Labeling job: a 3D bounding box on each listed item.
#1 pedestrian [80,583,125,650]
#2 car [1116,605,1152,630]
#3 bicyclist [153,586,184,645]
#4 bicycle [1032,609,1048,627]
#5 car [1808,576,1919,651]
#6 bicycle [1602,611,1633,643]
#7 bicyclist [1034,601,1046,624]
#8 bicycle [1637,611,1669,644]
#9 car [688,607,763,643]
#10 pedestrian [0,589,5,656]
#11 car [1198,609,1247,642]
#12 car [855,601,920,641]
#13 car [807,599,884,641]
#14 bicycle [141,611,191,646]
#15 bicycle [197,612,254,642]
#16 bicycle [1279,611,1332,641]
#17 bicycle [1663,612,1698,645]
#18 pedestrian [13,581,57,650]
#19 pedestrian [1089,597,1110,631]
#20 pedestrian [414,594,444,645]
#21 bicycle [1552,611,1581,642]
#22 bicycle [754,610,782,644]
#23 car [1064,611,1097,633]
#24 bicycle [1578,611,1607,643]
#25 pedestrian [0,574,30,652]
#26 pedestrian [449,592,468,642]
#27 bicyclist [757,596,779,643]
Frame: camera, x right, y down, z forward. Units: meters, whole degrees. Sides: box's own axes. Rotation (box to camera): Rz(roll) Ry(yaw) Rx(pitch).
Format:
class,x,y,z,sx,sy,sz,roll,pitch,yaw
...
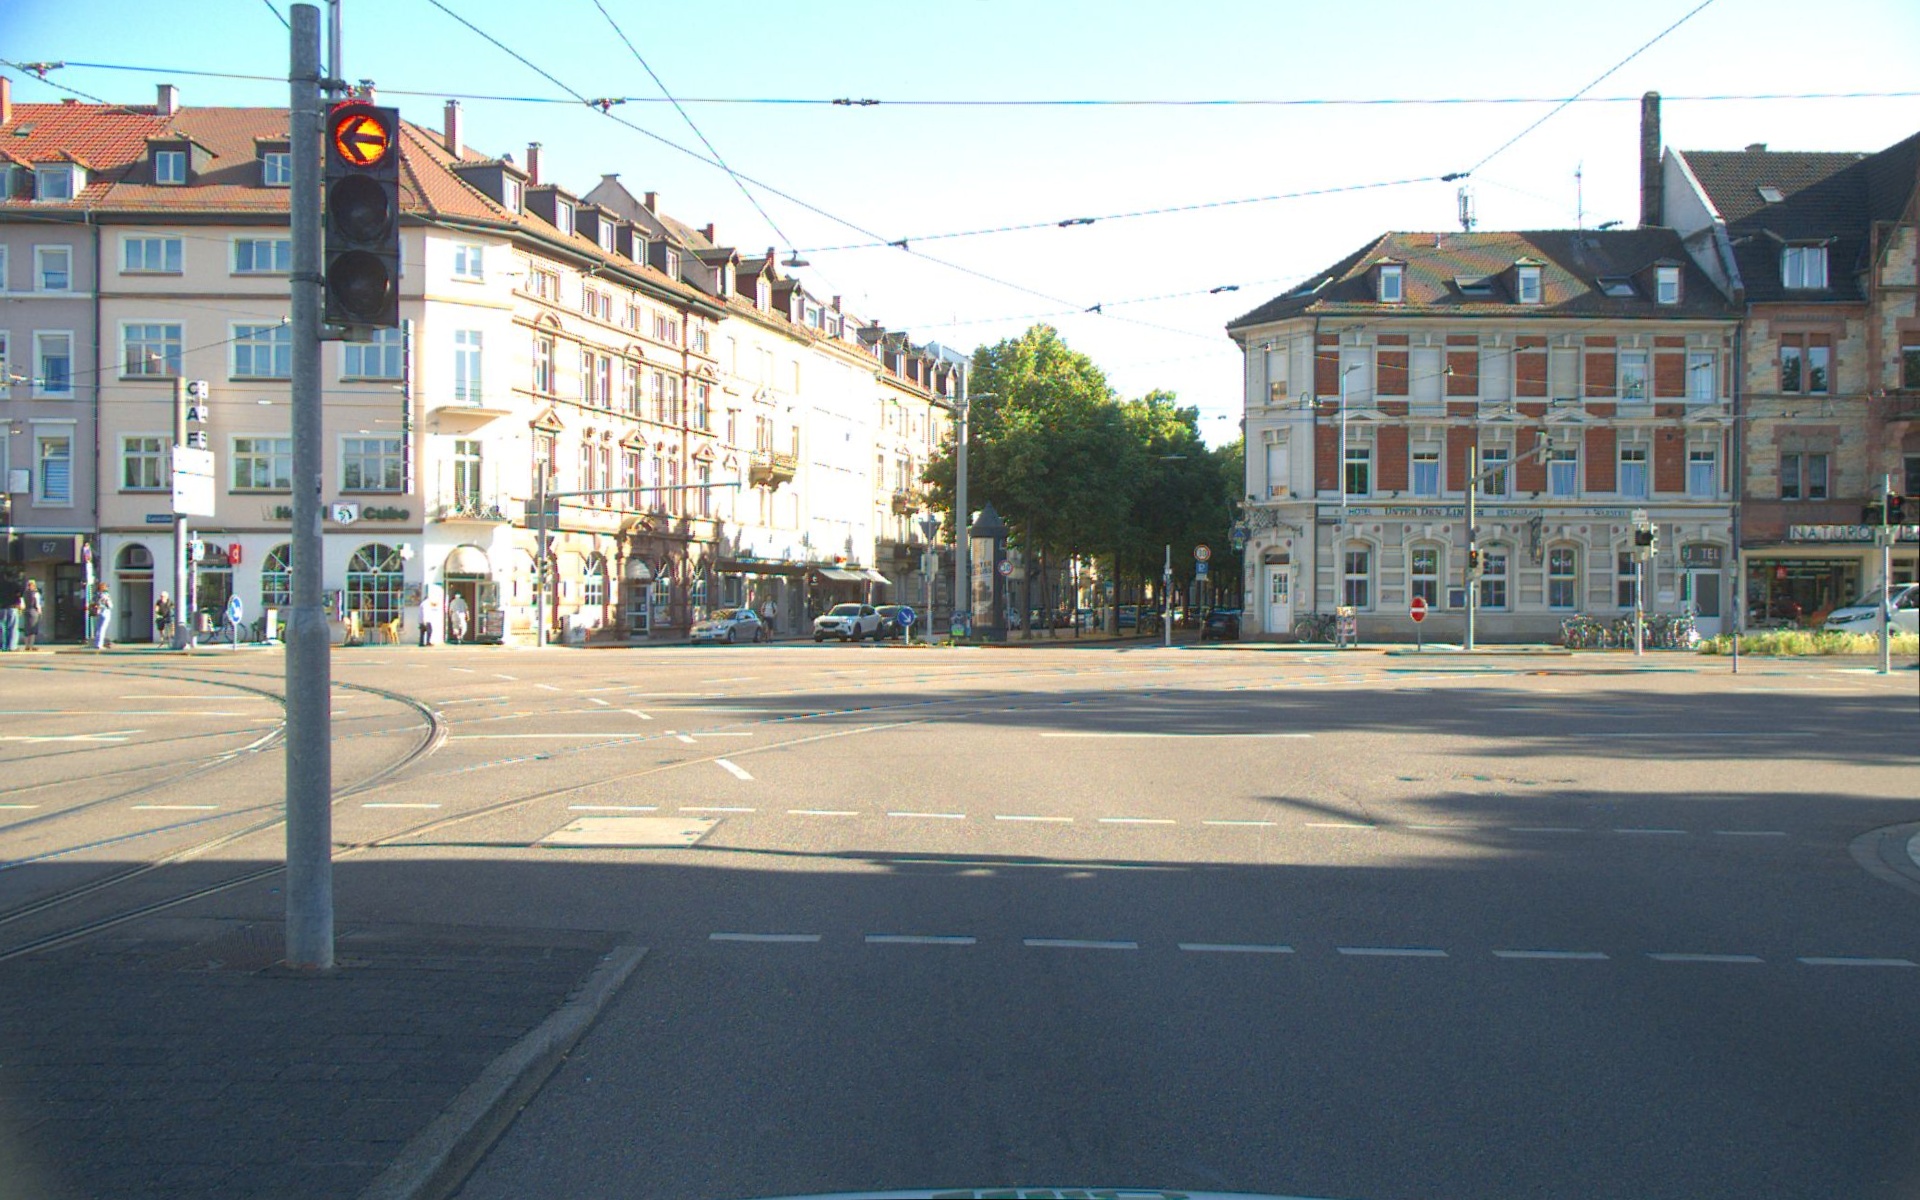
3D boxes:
class,x,y,z,sx,sy,sz,roll,pitch,yaw
pedestrian,-21.260,0.408,41.009,0.655,1.622,0.815,1,-1,-1
car,12.322,1.226,116.785,1.951,1.713,4.003,1,0,15
bicyclist,-24.857,0.483,51.951,0.608,1.822,0.615,1,-1,4
bicycle,5.601,1.287,115.889,0.659,1.228,1.822,1,0,17
car,24.936,0.351,42.662,5.091,1.886,2.000,0,0,1
bicycle,21.341,0.880,53.711,0.749,1.001,2.211,1,0,17
bicyclist,5.607,0.874,115.895,0.659,1.595,0.748,1,-1,17
bicycle,22.448,0.886,53.600,0.749,1.025,2.221,1,0,17
car,-9.456,0.987,66.913,1.624,1.398,3.894,1,0,14
pedestrian,-24.316,0.554,41.253,0.561,1.677,0.727,1,-1,-1
car,13.133,1.273,82.657,1.719,1.583,4.001,1,0,20
car,-3.190,0.932,73.555,1.786,1.715,3.877,1,0,16
car,-4.614,0.806,67.199,1.764,1.613,4.162,1,0,16
bicycle,-24.871,0.882,51.843,0.608,1.048,1.755,1,0,4
bicycle,-25.095,0.917,56.509,1.666,1.000,0.611,1,0,-1
bicycle,11.980,0.903,57.293,1.764,0.979,0.604,1,0,14
bicycle,23.298,0.900,53.498,0.775,1.033,2.211,1,0,17
pedestrian,-22.943,0.374,41.032,0.571,1.677,0.840,1,-1,-1
pedestrian,8.568,0.880,101.443,0.950,2.049,0.910,1,-1,-27
pedestrian,-17.584,0.645,54.756,0.556,1.671,0.792,1,-1,22
bicycle,19.809,0.855,54.041,0.749,0.979,2.211,1,0,17
bicycle,-7.546,1.055,64.999,0.553,1.276,1.558,1,0,14
car,8.941,1.604,122.332,1.764,1.603,3.893,1,0,15
bicycle,20.563,0.867,53.804,0.749,0.985,2.211,1,0,17
pedestrian,-22.935,0.309,39.944,0.516,1.854,0.676,1,-1,-1
pedestrian,-17.403,0.593,57.405,0.578,1.705,0.495,1,-1,-18
bicyclist,-7.549,0.775,65.008,0.553,1.835,0.915,1,-1,14
